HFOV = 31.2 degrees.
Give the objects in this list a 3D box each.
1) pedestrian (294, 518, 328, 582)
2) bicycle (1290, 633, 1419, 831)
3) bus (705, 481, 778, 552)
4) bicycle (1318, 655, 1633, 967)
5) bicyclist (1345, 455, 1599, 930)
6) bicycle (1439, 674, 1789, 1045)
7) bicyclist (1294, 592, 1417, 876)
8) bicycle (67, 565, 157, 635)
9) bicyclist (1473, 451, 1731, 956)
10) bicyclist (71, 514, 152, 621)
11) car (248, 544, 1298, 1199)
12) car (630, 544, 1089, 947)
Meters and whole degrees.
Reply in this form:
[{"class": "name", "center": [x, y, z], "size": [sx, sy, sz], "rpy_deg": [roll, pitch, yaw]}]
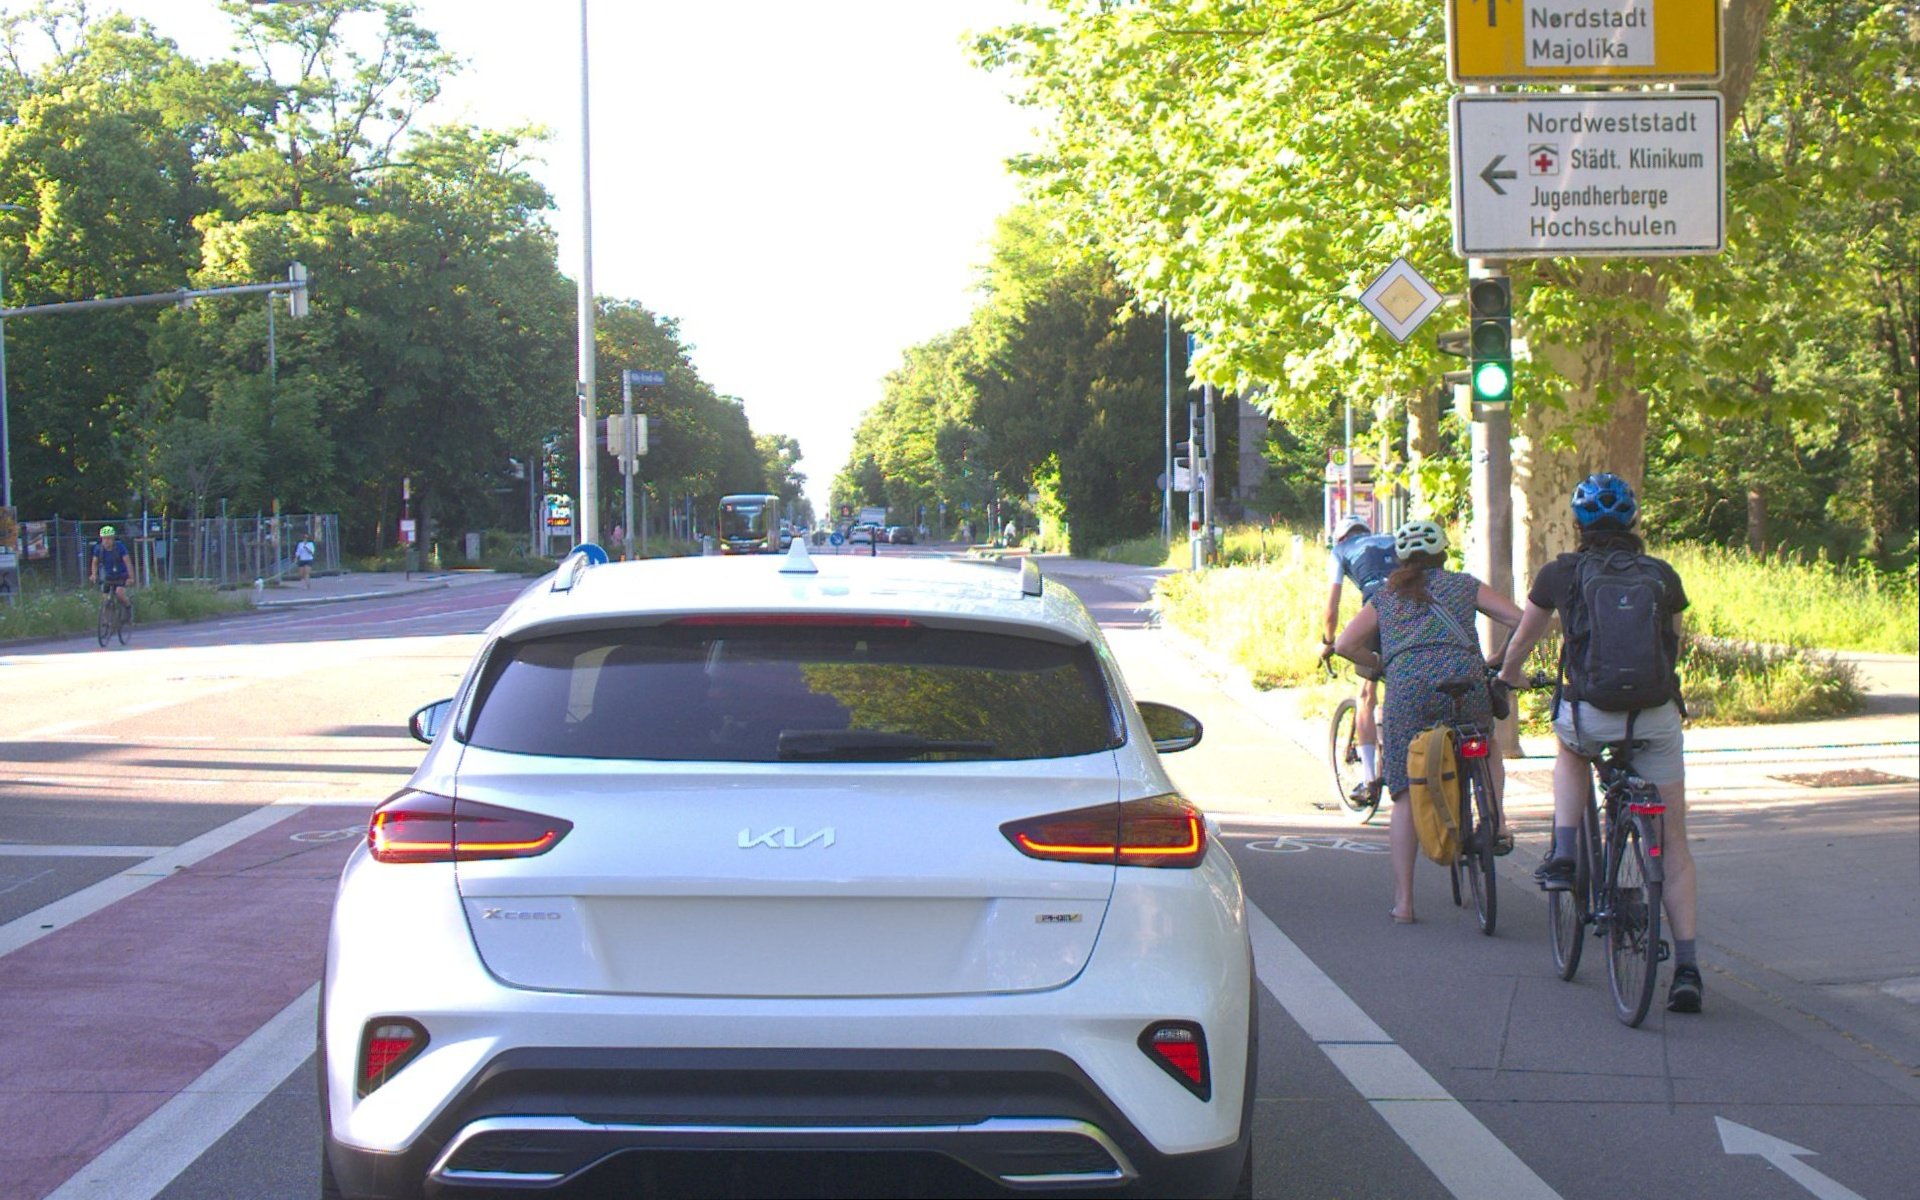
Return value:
[{"class": "pedestrian", "center": [-18.085, -1.388, 95.815], "size": [0.785, 1.779, 0.751], "rpy_deg": [0, 1, 0]}, {"class": "bicycle", "center": [2.099, 0.685, 18.405], "size": [0.401, 0.953, 1.551], "rpy_deg": [-4, 1, -2]}, {"class": "bus", "center": [-11.995, -4.570, 188.565], "size": [3.741, 3.660, 13.243], "rpy_deg": [-1, 1, -4]}, {"class": "bicycle", "center": [1.994, 0.782, 13.685], "size": [0.758, 1.009, 2.570], "rpy_deg": [1, 1, -2]}, {"class": "bicyclist", "center": [2.006, 0.338, 13.608], "size": [0.753, 1.789, 1.165], "rpy_deg": [1, 1, -2]}, {"class": "bicycle", "center": [2.086, 0.794, 11.246], "size": [0.668, 1.006, 2.081], "rpy_deg": [1, 1, -2]}, {"class": "bicyclist", "center": [2.097, 0.697, 18.278], "size": [0.554, 1.473, 0.717], "rpy_deg": [0, 1, -1]}, {"class": "bicycle", "center": [-12.987, -0.013, 52.718], "size": [0.663, 0.985, 2.504], "rpy_deg": [-1, 1, 2]}, {"class": "bicyclist", "center": [2.090, 0.321, 11.261], "size": [0.665, 1.596, 0.721], "rpy_deg": [1, 1, -2]}, {"class": "bicyclist", "center": [-12.998, -0.510, 52.690], "size": [0.875, 1.603, 1.188], "rpy_deg": [-1, 1, 1]}, {"class": "car", "center": [-0.387, 0.627, 7.955], "size": [1.821, 1.475, 3.937], "rpy_deg": [0, 1, -2]}, {"class": "car", "center": [-0.453, 0.529, 14.950], "size": [1.728, 1.478, 3.517], "rpy_deg": [-1, 1, -2]}]
